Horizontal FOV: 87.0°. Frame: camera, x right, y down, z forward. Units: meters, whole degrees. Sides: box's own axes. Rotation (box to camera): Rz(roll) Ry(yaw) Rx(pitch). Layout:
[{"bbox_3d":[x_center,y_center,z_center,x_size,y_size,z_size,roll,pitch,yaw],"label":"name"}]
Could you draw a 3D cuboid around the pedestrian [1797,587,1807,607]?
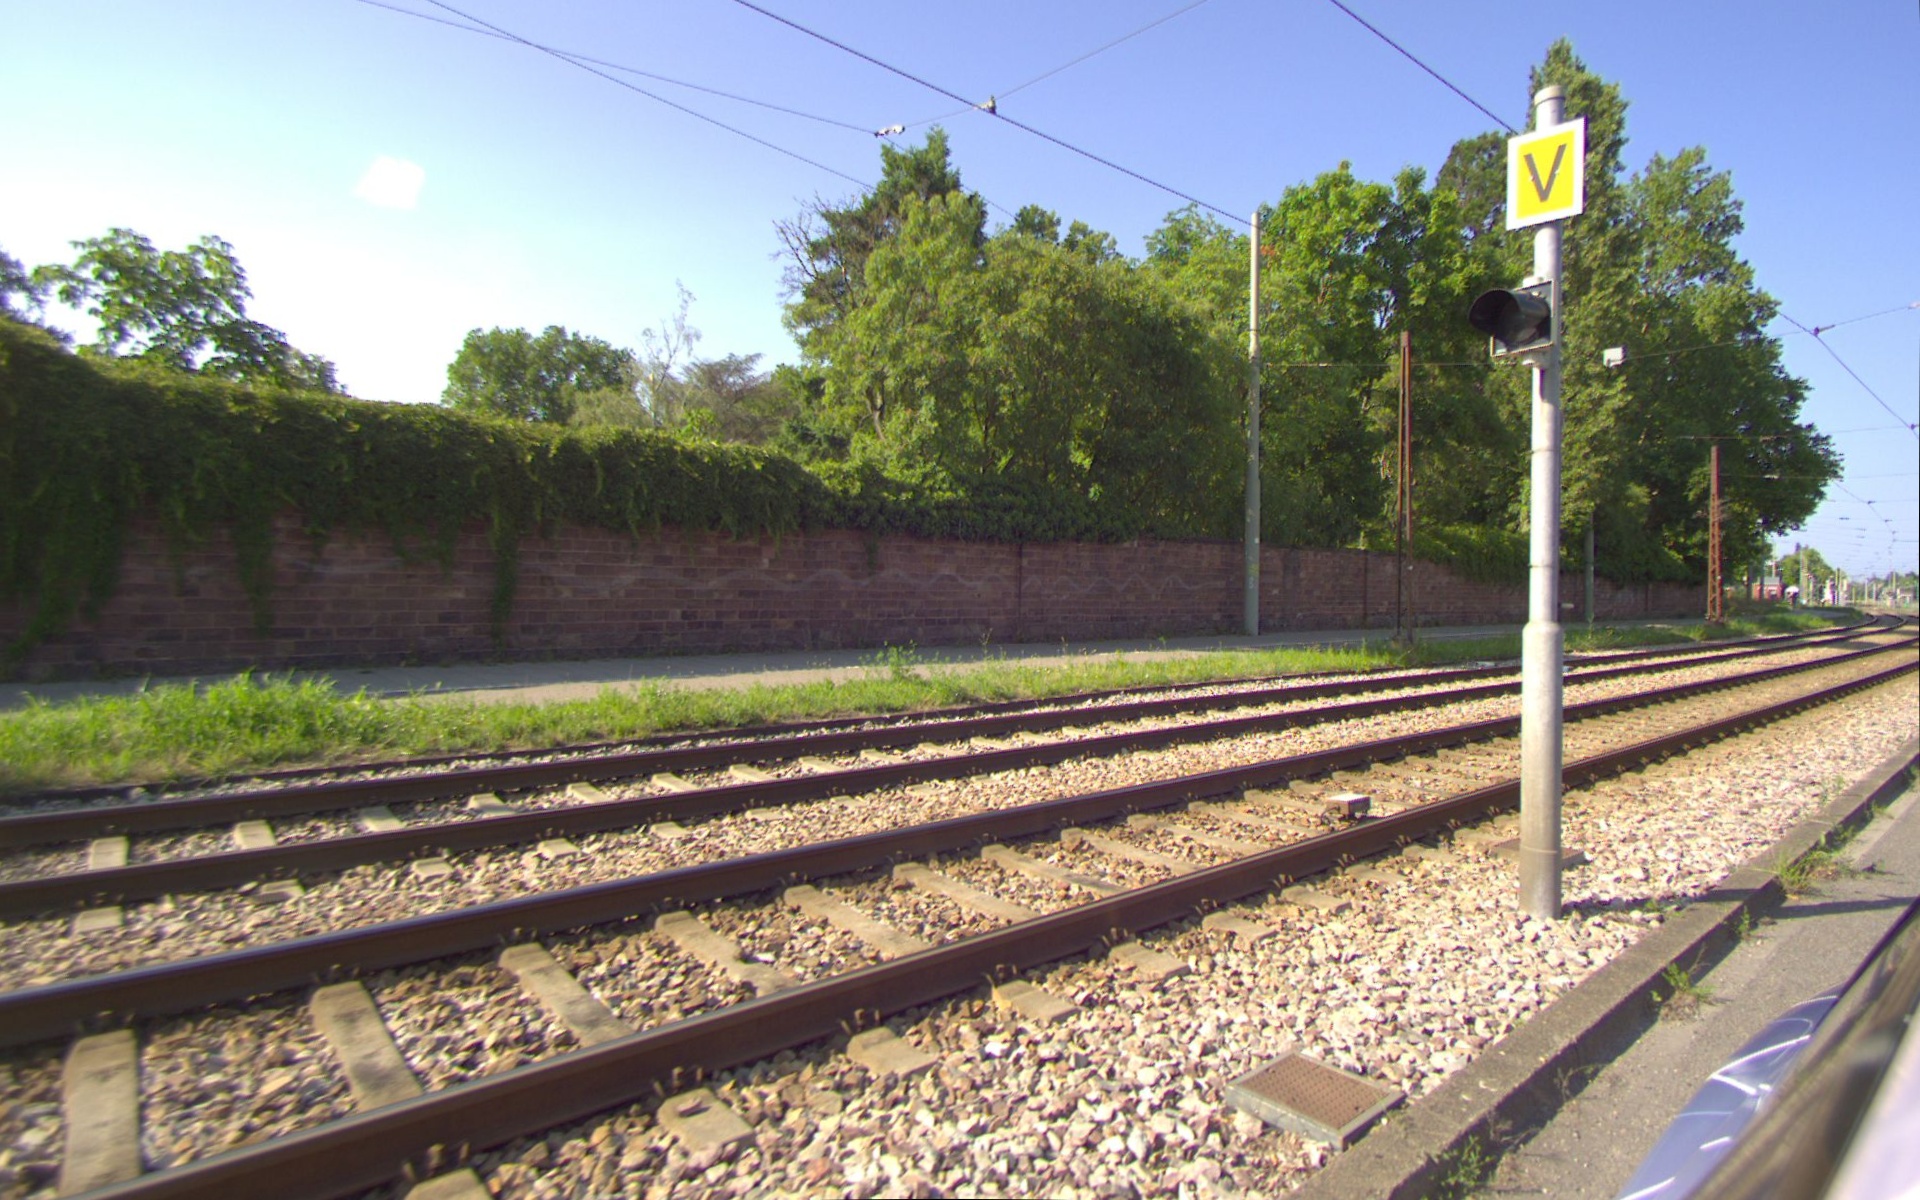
[{"bbox_3d":[74.306,-0.226,89.306,0.869,1.737,0.501,1,1,-40],"label":"pedestrian"}]
